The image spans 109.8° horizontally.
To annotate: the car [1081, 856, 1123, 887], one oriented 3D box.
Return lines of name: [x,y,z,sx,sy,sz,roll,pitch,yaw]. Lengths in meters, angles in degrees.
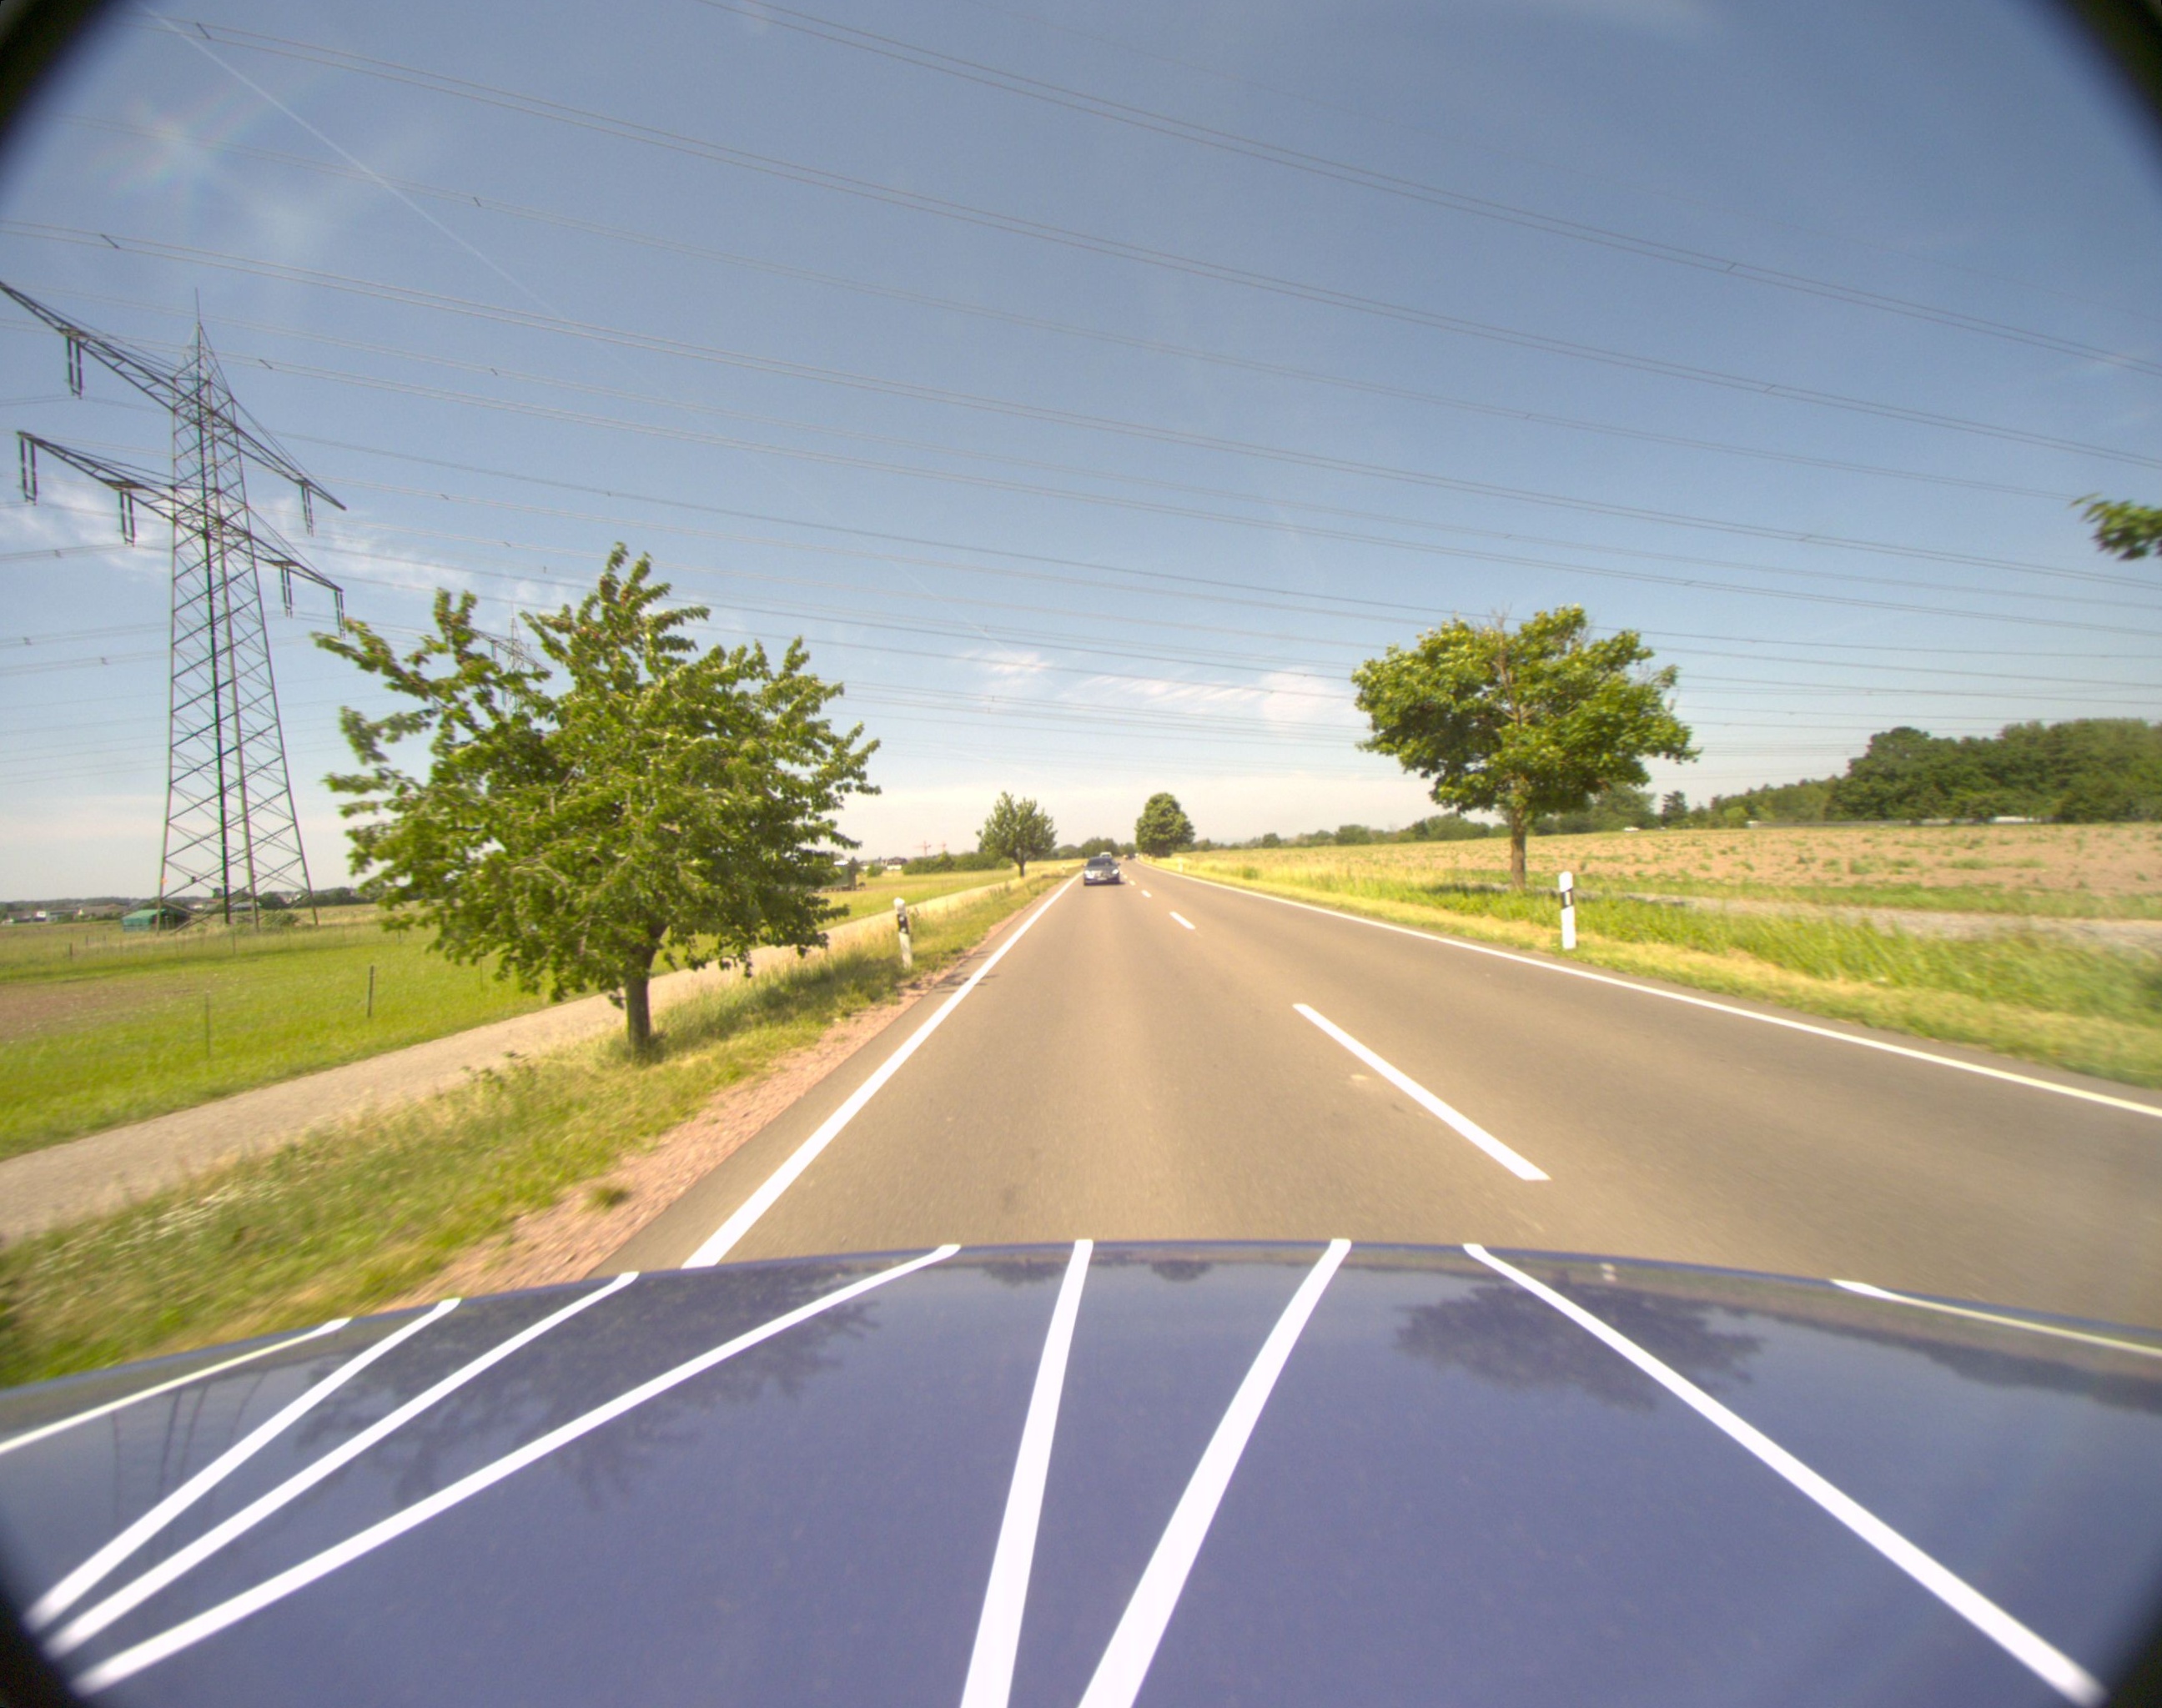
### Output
car: [0.999,0.825,37.945,1.954,1.391,3.999,-1,0,-1]

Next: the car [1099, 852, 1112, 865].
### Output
car: [3.924,0.659,121.933,1.998,1.907,4.206,-3,0,1]

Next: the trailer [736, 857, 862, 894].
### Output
trailer: [-33.040,2.525,89.350,13.542,3.455,3.276,-3,0,2]

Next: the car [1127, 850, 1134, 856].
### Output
car: [13.043,-0.190,199.627,1.738,1.439,4.000,-2,1,4]
